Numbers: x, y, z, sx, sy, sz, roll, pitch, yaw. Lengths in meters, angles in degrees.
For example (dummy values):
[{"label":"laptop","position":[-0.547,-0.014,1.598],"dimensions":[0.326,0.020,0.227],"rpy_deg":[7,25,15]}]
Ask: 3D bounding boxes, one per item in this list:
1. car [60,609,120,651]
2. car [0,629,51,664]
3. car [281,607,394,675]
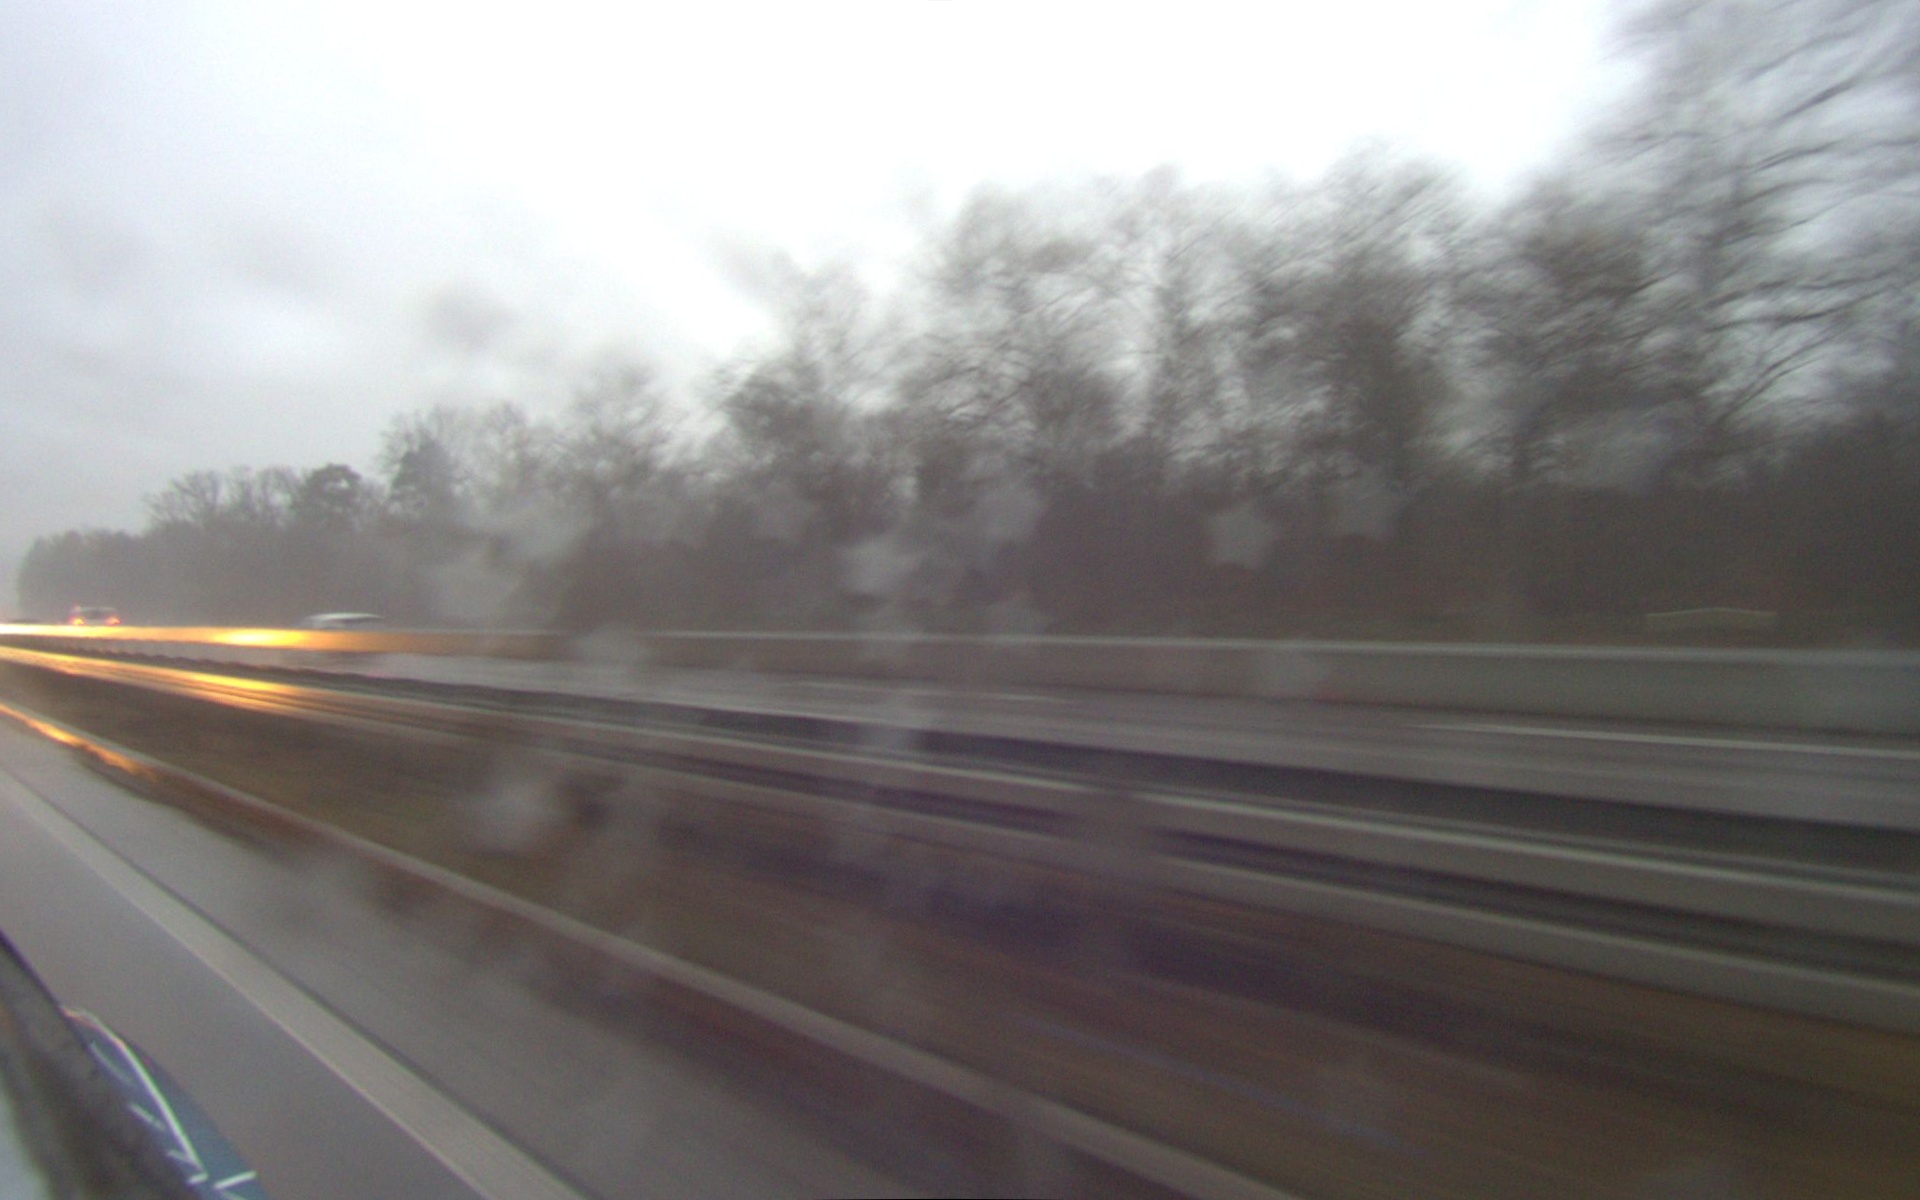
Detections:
[{"label":"car","position":[-51.206,1.709,59.518],"dimensions":[5.460,2.334,2.009],"rpy_deg":[-1,0,42]},{"label":"car","position":[-44.351,2.173,47.861],"dimensions":[3.522,1.479,1.614],"rpy_deg":[-1,0,41]},{"label":"car","position":[-18.308,1.150,29.722],"dimensions":[3.910,1.849,1.739],"rpy_deg":[-1,0,41]}]
